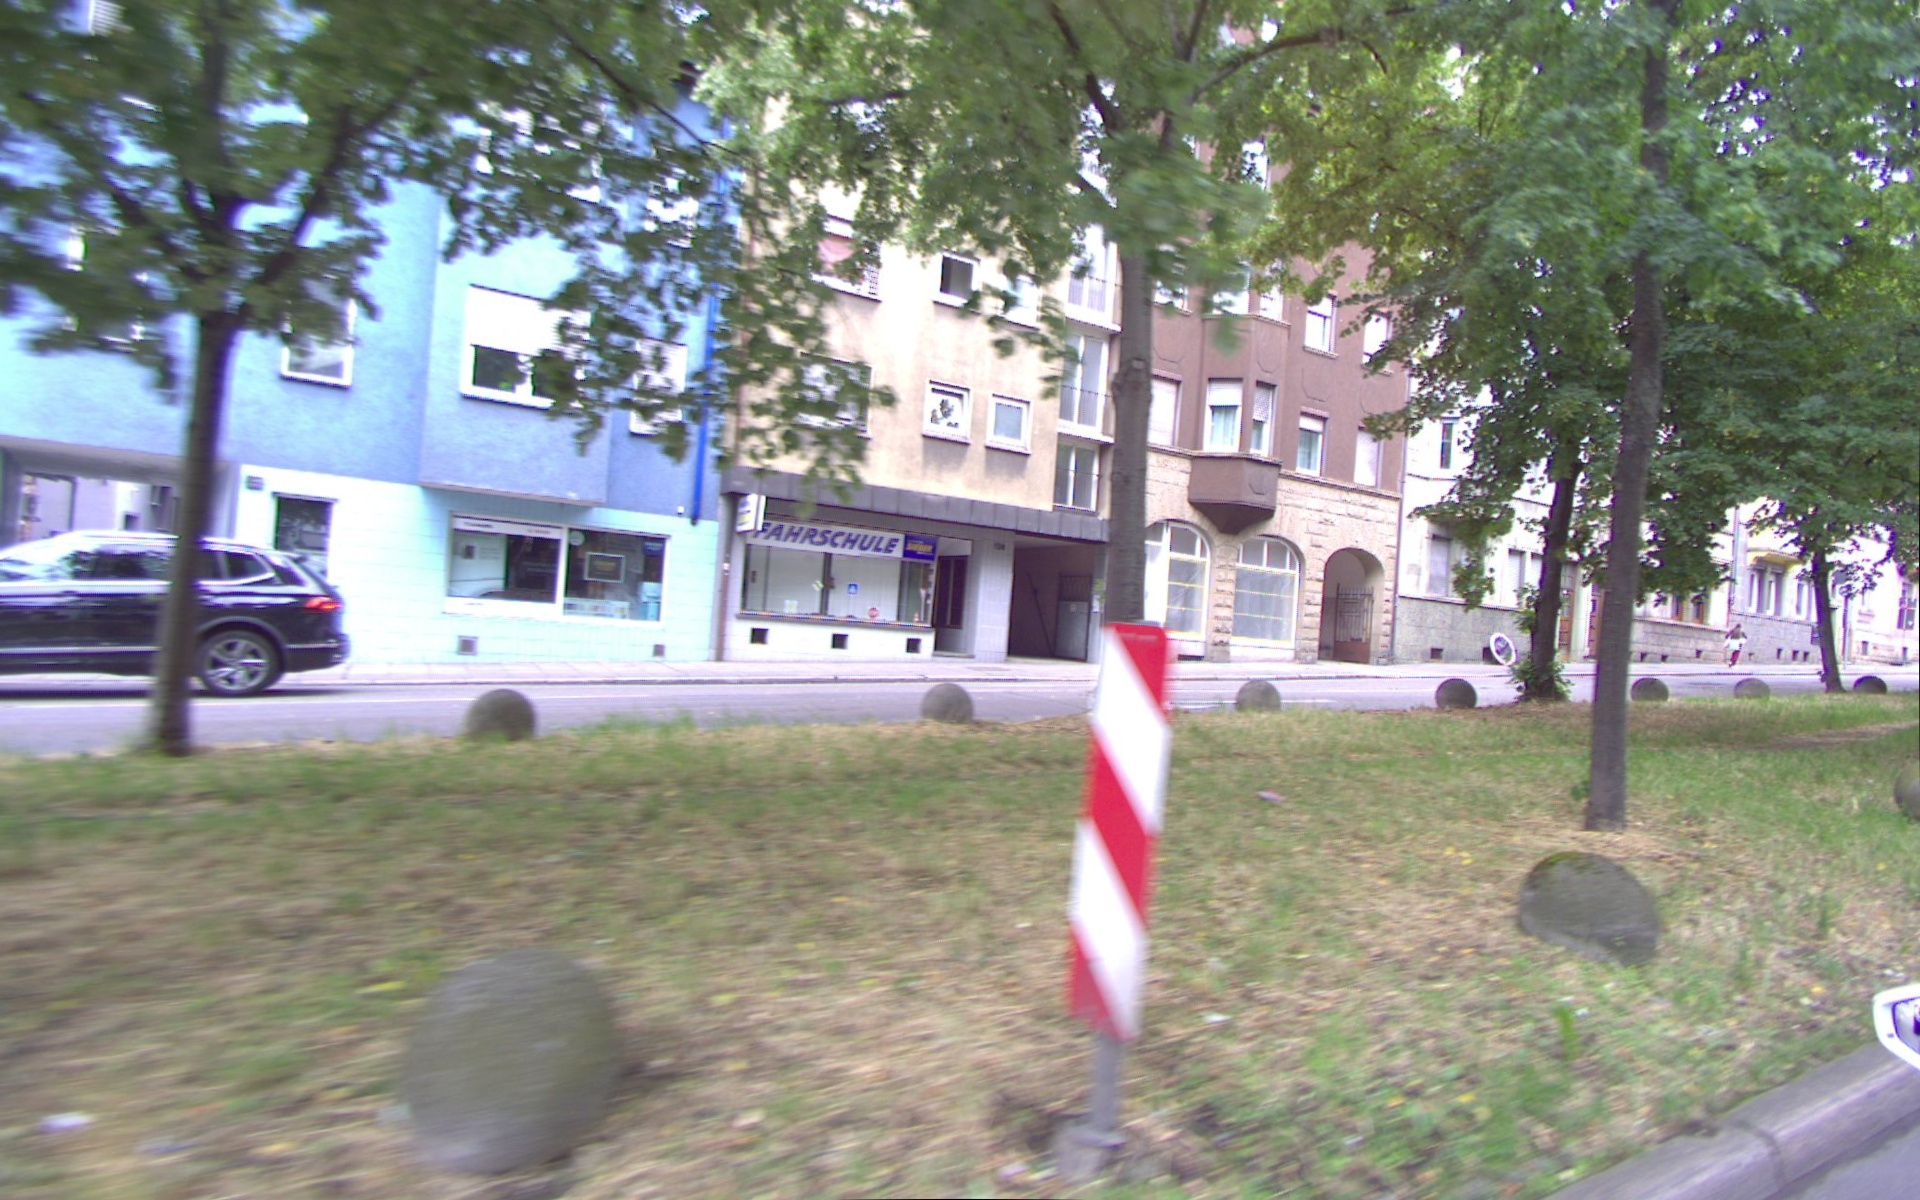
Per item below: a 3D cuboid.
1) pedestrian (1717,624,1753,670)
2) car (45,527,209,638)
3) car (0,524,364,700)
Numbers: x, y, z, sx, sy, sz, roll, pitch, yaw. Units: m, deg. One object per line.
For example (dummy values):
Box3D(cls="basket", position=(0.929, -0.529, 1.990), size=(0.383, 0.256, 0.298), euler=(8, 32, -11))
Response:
Box3D(cls="pedestrian", position=(26.177, 1.573, 33.916), size=(0.695, 1.480, 0.695), euler=(1, 1, -29))
Box3D(cls="car", position=(-17.992, -0.402, 21.953), size=(1.979, 2.040, 4.900), euler=(4, 0, -32))
Box3D(cls="car", position=(-9.028, 0.155, 10.606), size=(4.627, 1.658, 1.806), euler=(3, -2, -32))
